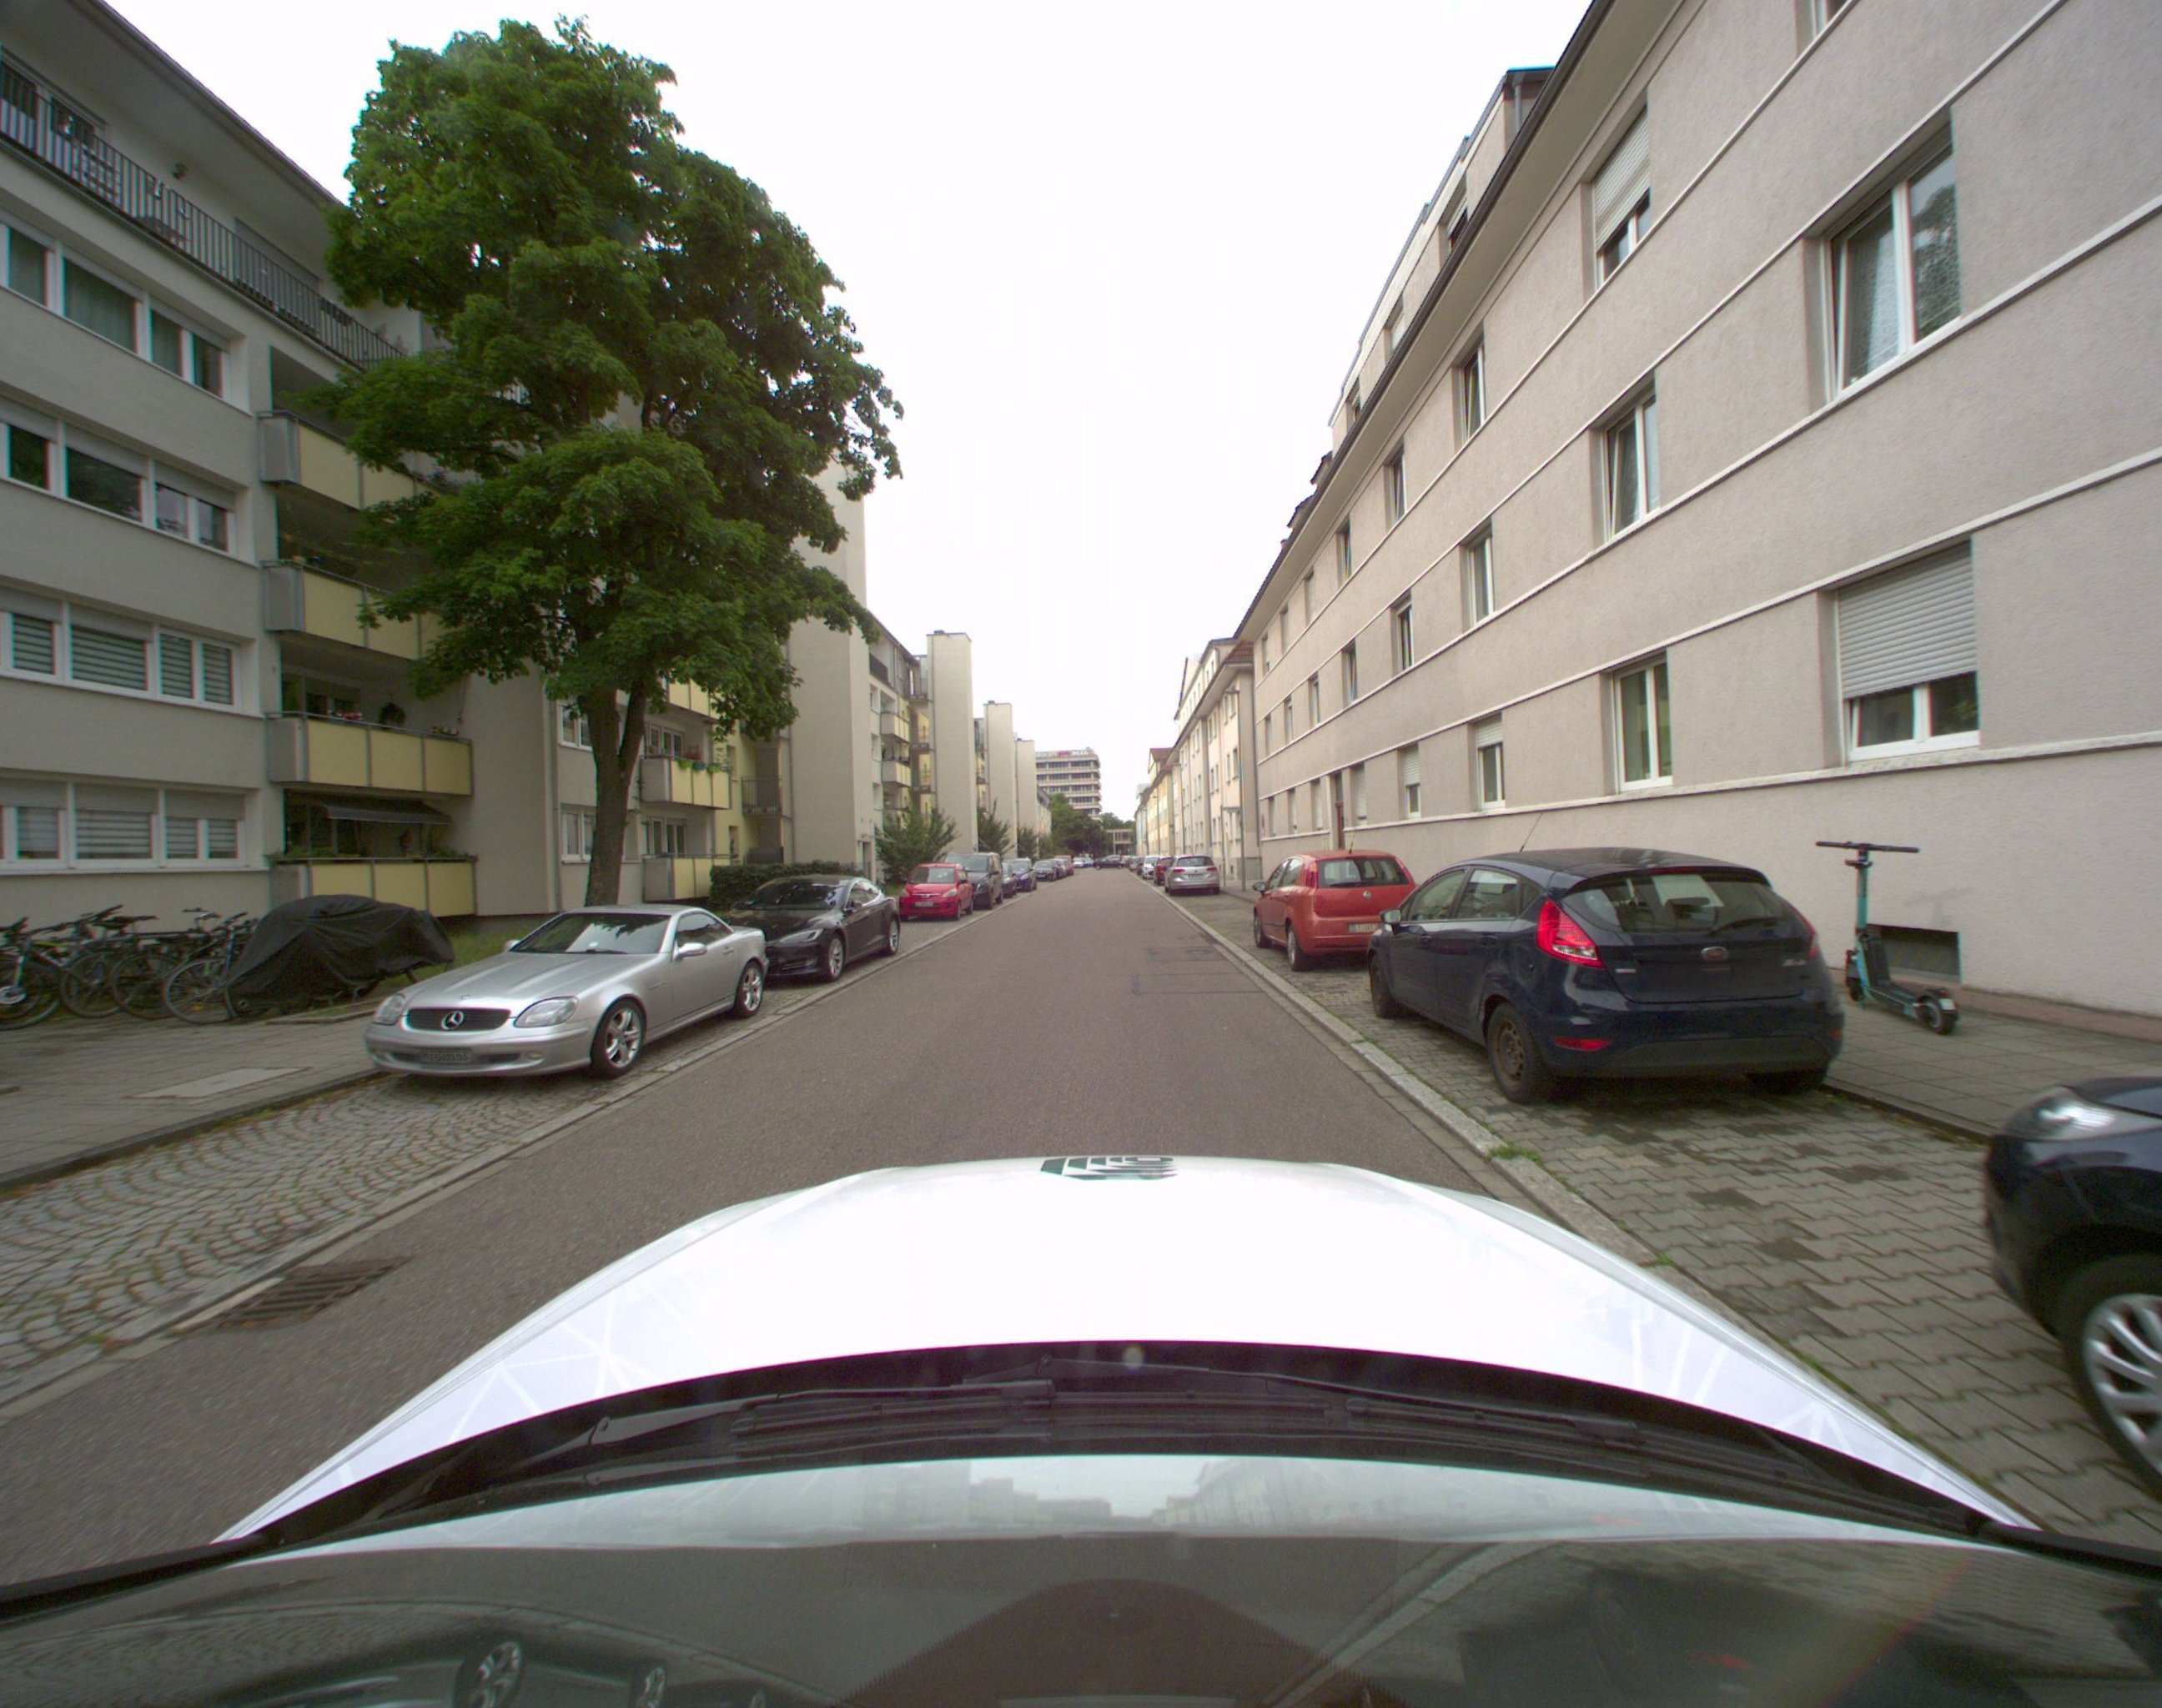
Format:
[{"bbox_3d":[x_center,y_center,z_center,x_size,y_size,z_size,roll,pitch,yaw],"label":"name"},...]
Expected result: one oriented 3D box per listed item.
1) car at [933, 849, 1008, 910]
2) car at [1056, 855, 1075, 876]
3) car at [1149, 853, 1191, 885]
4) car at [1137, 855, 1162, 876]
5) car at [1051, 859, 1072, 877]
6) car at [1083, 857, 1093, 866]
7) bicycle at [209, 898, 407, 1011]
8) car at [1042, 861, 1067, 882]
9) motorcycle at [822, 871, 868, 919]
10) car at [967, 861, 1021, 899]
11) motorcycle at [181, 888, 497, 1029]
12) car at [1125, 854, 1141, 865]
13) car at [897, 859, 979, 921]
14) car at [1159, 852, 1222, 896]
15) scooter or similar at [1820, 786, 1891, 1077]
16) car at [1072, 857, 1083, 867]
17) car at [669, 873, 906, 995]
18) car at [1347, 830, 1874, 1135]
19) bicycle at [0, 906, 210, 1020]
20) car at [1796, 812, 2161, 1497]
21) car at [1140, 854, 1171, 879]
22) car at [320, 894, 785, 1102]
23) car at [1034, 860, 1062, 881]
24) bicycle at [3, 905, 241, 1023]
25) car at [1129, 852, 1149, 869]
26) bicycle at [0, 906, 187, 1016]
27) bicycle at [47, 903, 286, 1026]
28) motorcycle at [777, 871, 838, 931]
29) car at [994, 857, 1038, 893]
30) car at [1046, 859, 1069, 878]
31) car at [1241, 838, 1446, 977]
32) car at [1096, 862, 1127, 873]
[{"bbox_3d":[-3.684,0.789,28.034,1.873,1.904,5.030,0,0,0],"label":"car"},{"bbox_3d":[-1.500,1.124,80.364,1.665,1.938,3.743,-1,0,2],"label":"car"},{"bbox_3d":[4.400,0.732,40.724,1.664,1.420,4.001,-4,0,1],"label":"car"},{"bbox_3d":[5.400,0.895,64.587,1.812,1.577,3.754,-1,0,2],"label":"car"},{"bbox_3d":[-1.795,1.266,75.048,1.665,1.487,3.743,-1,0,2],"label":"car"},{"bbox_3d":[1.140,1.206,131.888,1.534,1.450,3.740,-2,0,-1],"label":"car"},{"bbox_3d":[-9.004,1.124,9.593,0.549,1.101,1.776,-2,0,3],"label":"bicycle"},{"bbox_3d":[-2.051,1.329,63.675,1.665,1.564,3.666,-1,0,2],"label":"car"},{"bbox_3d":[-6.544,1.128,22.703,0.633,1.230,1.834,2,0,2],"label":"motorcycle"},{"bbox_3d":[-3.659,1.065,34.957,1.824,1.459,4.259,-1,0,0],"label":"car"},{"bbox_3d":[-8.269,1.073,9.397,0.678,1.223,3.069,-1,0,4],"label":"motorcycle"},{"bbox_3d":[6.947,0.713,108.494,1.986,1.398,4.001,0,0,1],"label":"car"},{"bbox_3d":[-3.934,0.949,22.890,1.558,1.569,3.643,0,0,1],"label":"car"},{"bbox_3d":[3.991,0.684,30.375,1.749,1.467,4.601,-1,0,1],"label":"car"},{"bbox_3d":[5.691,0.536,5.998,0.342,2.013,0.682,0,0,41],"label":"scooter or similar"},{"bbox_3d":[-0.506,1.136,121.248,1.533,1.450,3.743,-1,0,2],"label":"car"},{"bbox_3d":[-4.204,1.065,12.606,1.834,1.421,4.632,0,0,2],"label":"car"},{"bbox_3d":[3.275,0.658,5.975,1.560,1.473,3.699,-3,0,3],"label":"car"},{"bbox_3d":[-11.440,1.214,9.514,0.549,1.101,1.776,-2,0,3],"label":"bicycle"},{"bbox_3d":[3.028,0.620,0.678,1.560,1.478,3.874,-3,0,3],"label":"car"},{"bbox_3d":[4.796,0.791,52.796,1.812,1.504,3.754,-1,0,2],"label":"car"},{"bbox_3d":[-4.473,1.119,7.765,1.690,1.258,4.017,0,0,2],"label":"car"},{"bbox_3d":[-2.338,1.173,58.222,1.665,1.352,3.818,-1,0,2],"label":"car"},{"bbox_3d":[-10.832,1.195,9.308,0.549,1.101,1.776,-2,0,3],"label":"bicycle"},{"bbox_3d":[5.750,0.634,81.305,1.812,1.577,3.886,-1,0,2],"label":"car"},{"bbox_3d":[-12.022,1.231,9.777,0.549,1.101,1.776,-2,0,3],"label":"bicycle"},{"bbox_3d":[-9.962,1.152,8.987,0.549,1.101,1.776,-2,0,3],"label":"bicycle"},{"bbox_3d":[-6.712,1.124,20.117,0.675,1.356,2.230,0,0,2],"label":"motorcycle"},{"bbox_3d":[-3.184,1.009,40.474,1.763,1.643,4.354,-1,0,0],"label":"car"},{"bbox_3d":[-1.960,1.202,70.109,1.665,1.526,4.255,-1,0,2],"label":"car"},{"bbox_3d":[3.427,0.625,11.381,1.690,1.525,3.828,-3,0,2],"label":"car"},{"bbox_3d":[3.791,1.697,100.420,3.714,1.214,1.545,-1,0,3],"label":"car"}]
